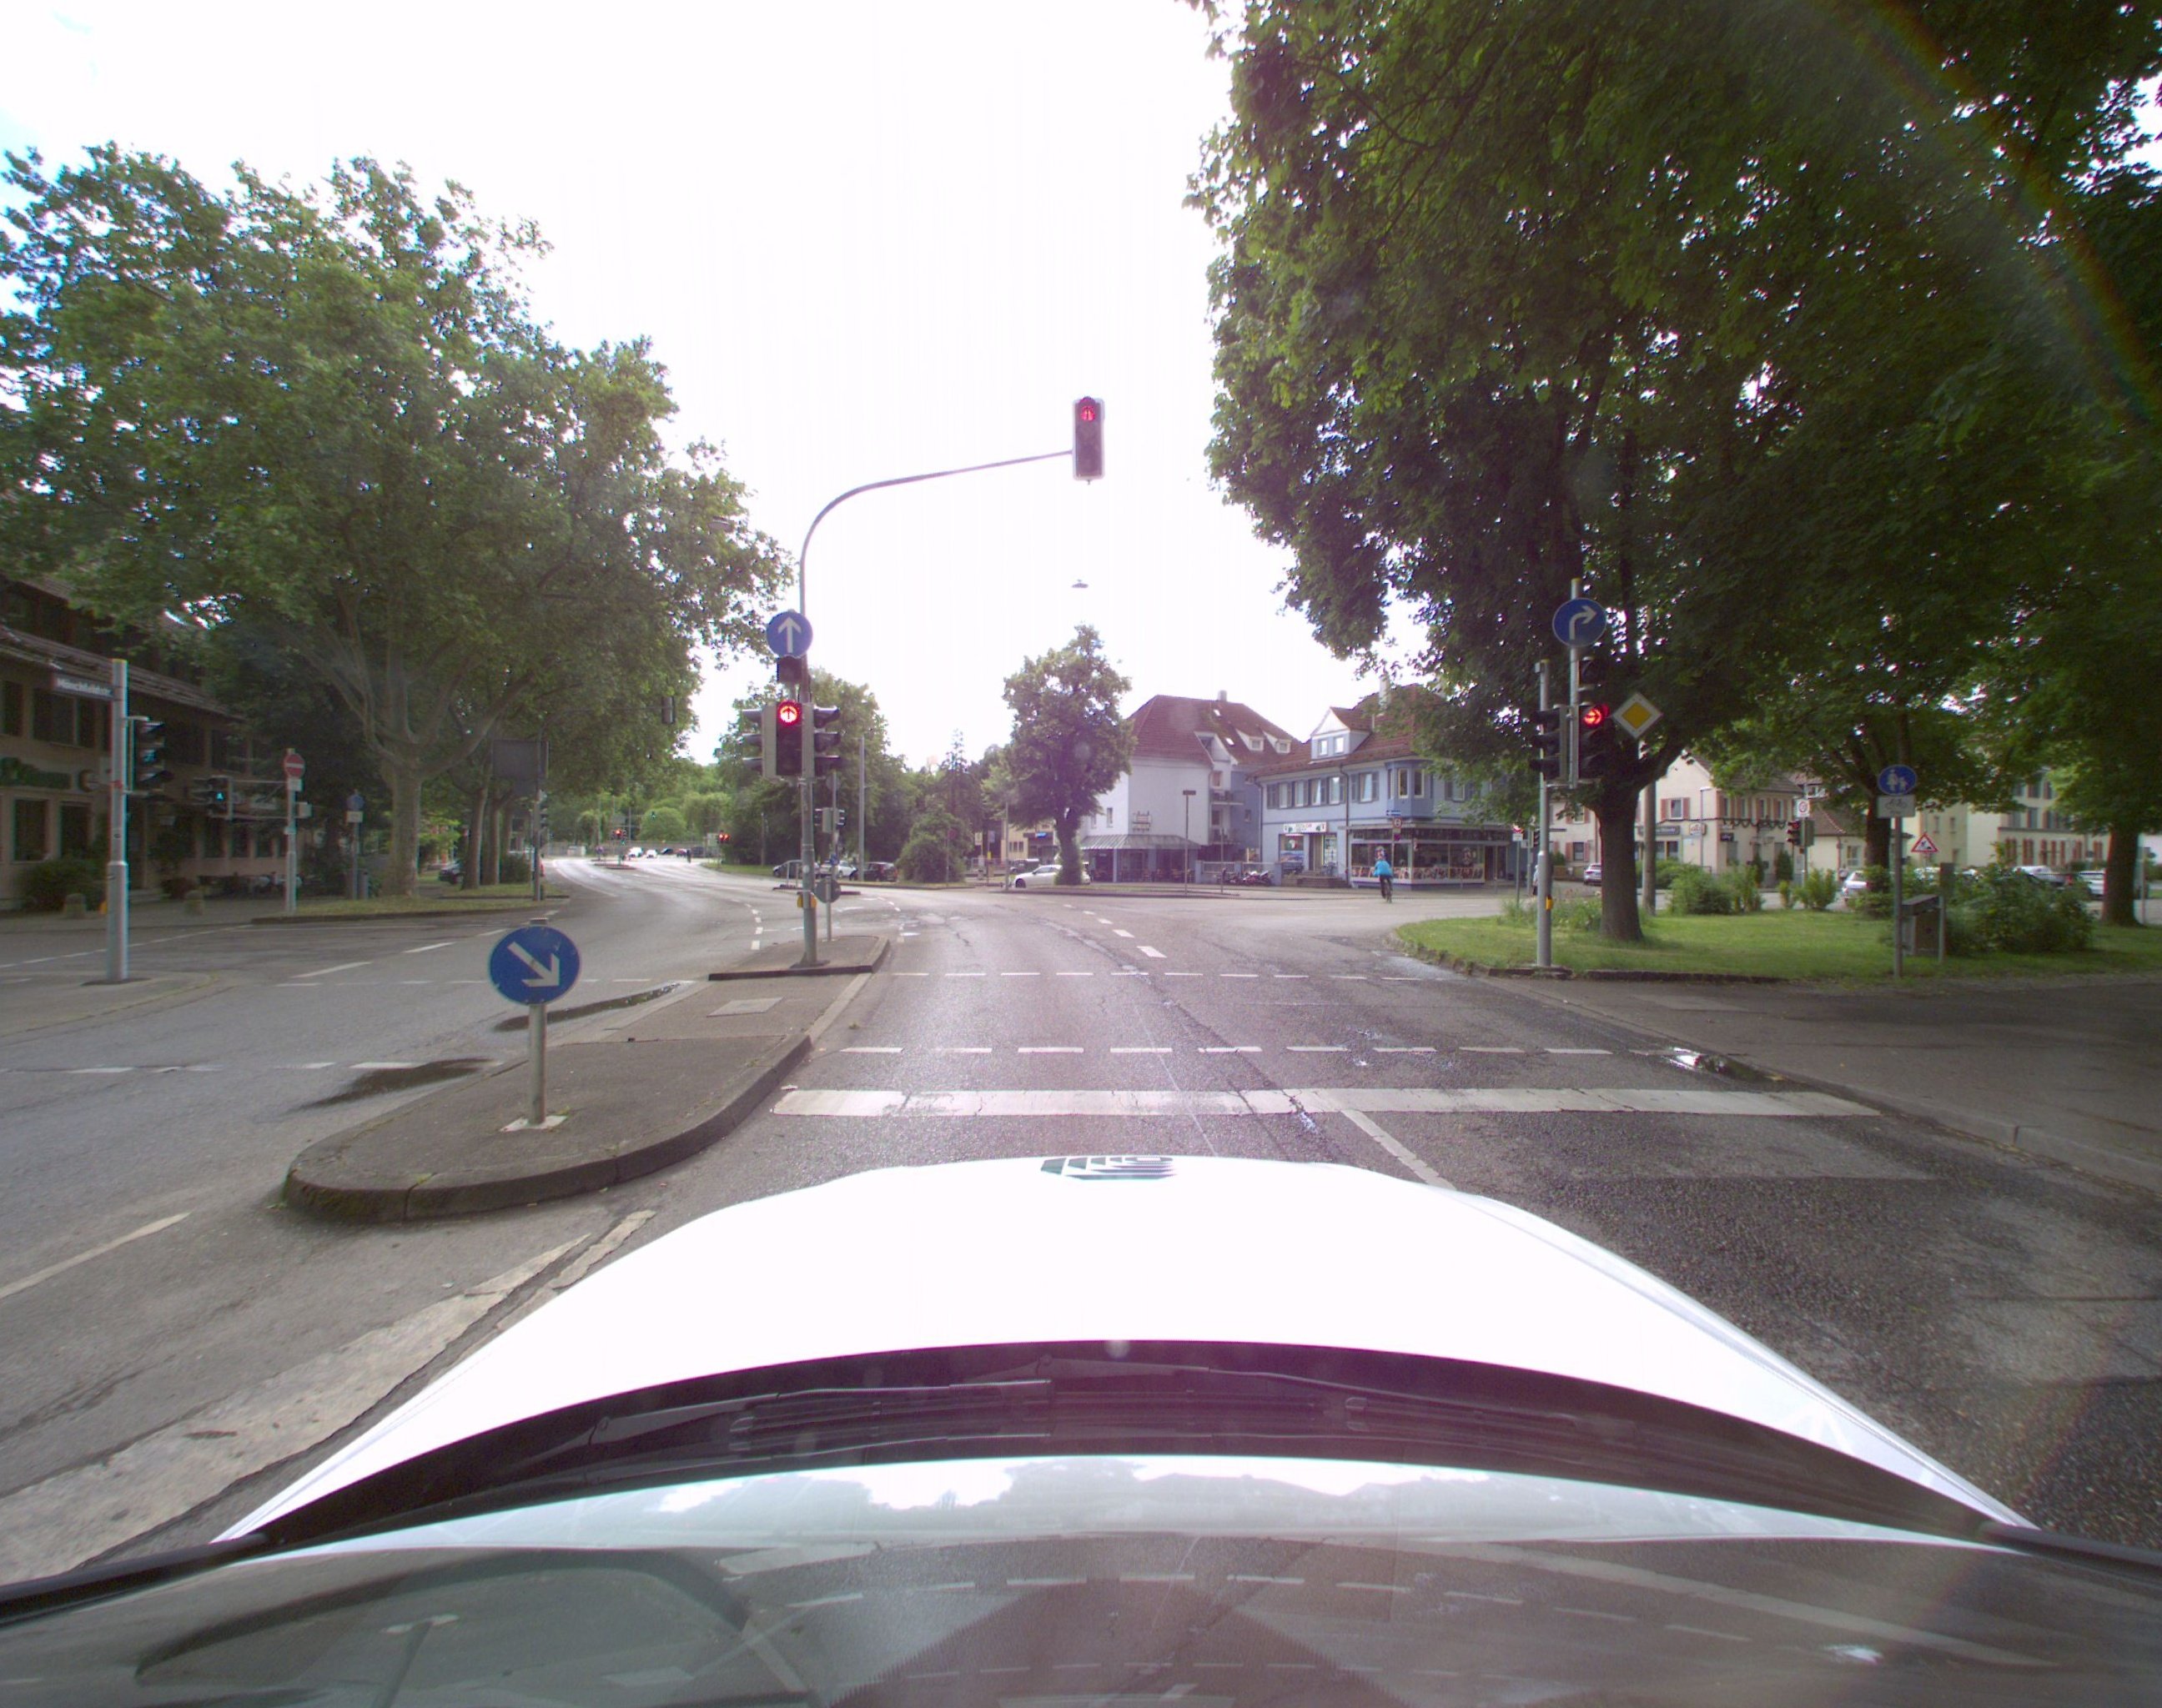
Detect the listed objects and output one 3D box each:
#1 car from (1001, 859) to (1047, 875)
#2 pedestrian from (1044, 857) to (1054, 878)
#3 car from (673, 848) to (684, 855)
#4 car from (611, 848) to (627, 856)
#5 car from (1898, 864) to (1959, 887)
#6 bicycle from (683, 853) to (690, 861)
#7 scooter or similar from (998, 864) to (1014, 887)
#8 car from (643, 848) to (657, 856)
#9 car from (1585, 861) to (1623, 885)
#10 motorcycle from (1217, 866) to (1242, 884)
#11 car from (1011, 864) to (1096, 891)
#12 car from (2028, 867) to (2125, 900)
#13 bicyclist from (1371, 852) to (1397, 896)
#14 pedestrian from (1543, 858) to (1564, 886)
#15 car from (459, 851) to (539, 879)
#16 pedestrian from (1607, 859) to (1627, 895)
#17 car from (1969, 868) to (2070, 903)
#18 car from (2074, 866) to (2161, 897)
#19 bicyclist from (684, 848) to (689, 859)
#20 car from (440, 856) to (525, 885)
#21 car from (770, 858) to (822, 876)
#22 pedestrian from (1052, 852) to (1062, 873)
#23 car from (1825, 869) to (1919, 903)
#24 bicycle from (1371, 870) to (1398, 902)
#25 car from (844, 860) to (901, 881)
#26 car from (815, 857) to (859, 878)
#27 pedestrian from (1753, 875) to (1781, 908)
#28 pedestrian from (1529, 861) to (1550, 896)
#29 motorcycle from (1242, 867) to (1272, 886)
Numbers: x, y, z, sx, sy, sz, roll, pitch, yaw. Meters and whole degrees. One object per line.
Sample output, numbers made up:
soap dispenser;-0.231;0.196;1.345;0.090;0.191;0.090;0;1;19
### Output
car;-5.319;1.226;75.925;3.948;1.442;1.742;0;0;-18
pedestrian;-3.220;1.338;80.896;0.838;2.014;1.051;0;-1;-12
car;-87.785;-0.542;177.644;2.006;1.596;3.962;0;-1;-30
car;-86.942;-0.386;153.177;3.293;1.486;1.594;-1;-2;43
car;55.476;1.365;53.302;3.871;1.447;1.753;0;-1;-28
bicycle;-47.054;0.400;97.131;0.559;0.958;2.014;0;0;-28
scooter or similar;-3.951;1.137;42.853;0.439;1.175;1.442;-1;-1;11
car;-83.208;-0.321;157.318;2.988;1.417;1.509;-1;-2;43
car;32.459;1.137;50.628;1.866;1.391;3.637;0;0;31
motorcycle;9.136;1.305;50.055;1.441;1.088;0.527;-1;-1;37
car;-1.594;1.283;45.940;4.654;1.410;1.914;0;0;37
car;47.081;1.369;38.524;3.731;1.457;1.640;0;0;-17
bicyclist;11.614;0.740;31.252;0.907;1.651;0.994;0;-1;21
pedestrian;26.420;0.985;45.579;0.671;1.560;0.743;0;-1;-13
car;-36.459;0.677;51.183;4.015;1.684;1.979;0;-1;-34
pedestrian;23.513;0.995;35.724;0.687;1.560;0.671;-1;-1;33
car;42.347;1.378;36.761;3.731;1.457;1.640;0;0;-17
car;52.597;1.368;41.262;3.731;1.457;1.640;0;0;-17
bicyclist;-47.067;-0.033;97.101;0.543;1.342;0.707;0;-1;-29
car;-35.629;0.953;48.614;4.015;1.684;1.979;0;-1;-34
car;-22.589;1.021;64.523;3.742;1.465;1.629;0;0;20
pedestrian;-1.755;0.618;59.444;0.538;1.560;0.470;-1;-1;15
car;31.943;1.266;32.903;3.007;1.267;1.455;0;-1;-17
bicycle;11.701;1.205;31.442;0.866;1.149;1.962;0;0;18
car;-13.825;1.051;54.008;3.285;1.352;1.791;0;0;29
car;-20.134;1.079;67.414;1.848;1.640;3.768;0;0;13
pedestrian;22.791;1.231;27.068;0.505;1.081;0.514;0;-1;-13
pedestrian;20.711;1.079;36.786;0.724;1.560;0.773;-1;-1;33
motorcycle;10.429;1.316;48.252;1.609;1.088;0.631;-1;-1;34
